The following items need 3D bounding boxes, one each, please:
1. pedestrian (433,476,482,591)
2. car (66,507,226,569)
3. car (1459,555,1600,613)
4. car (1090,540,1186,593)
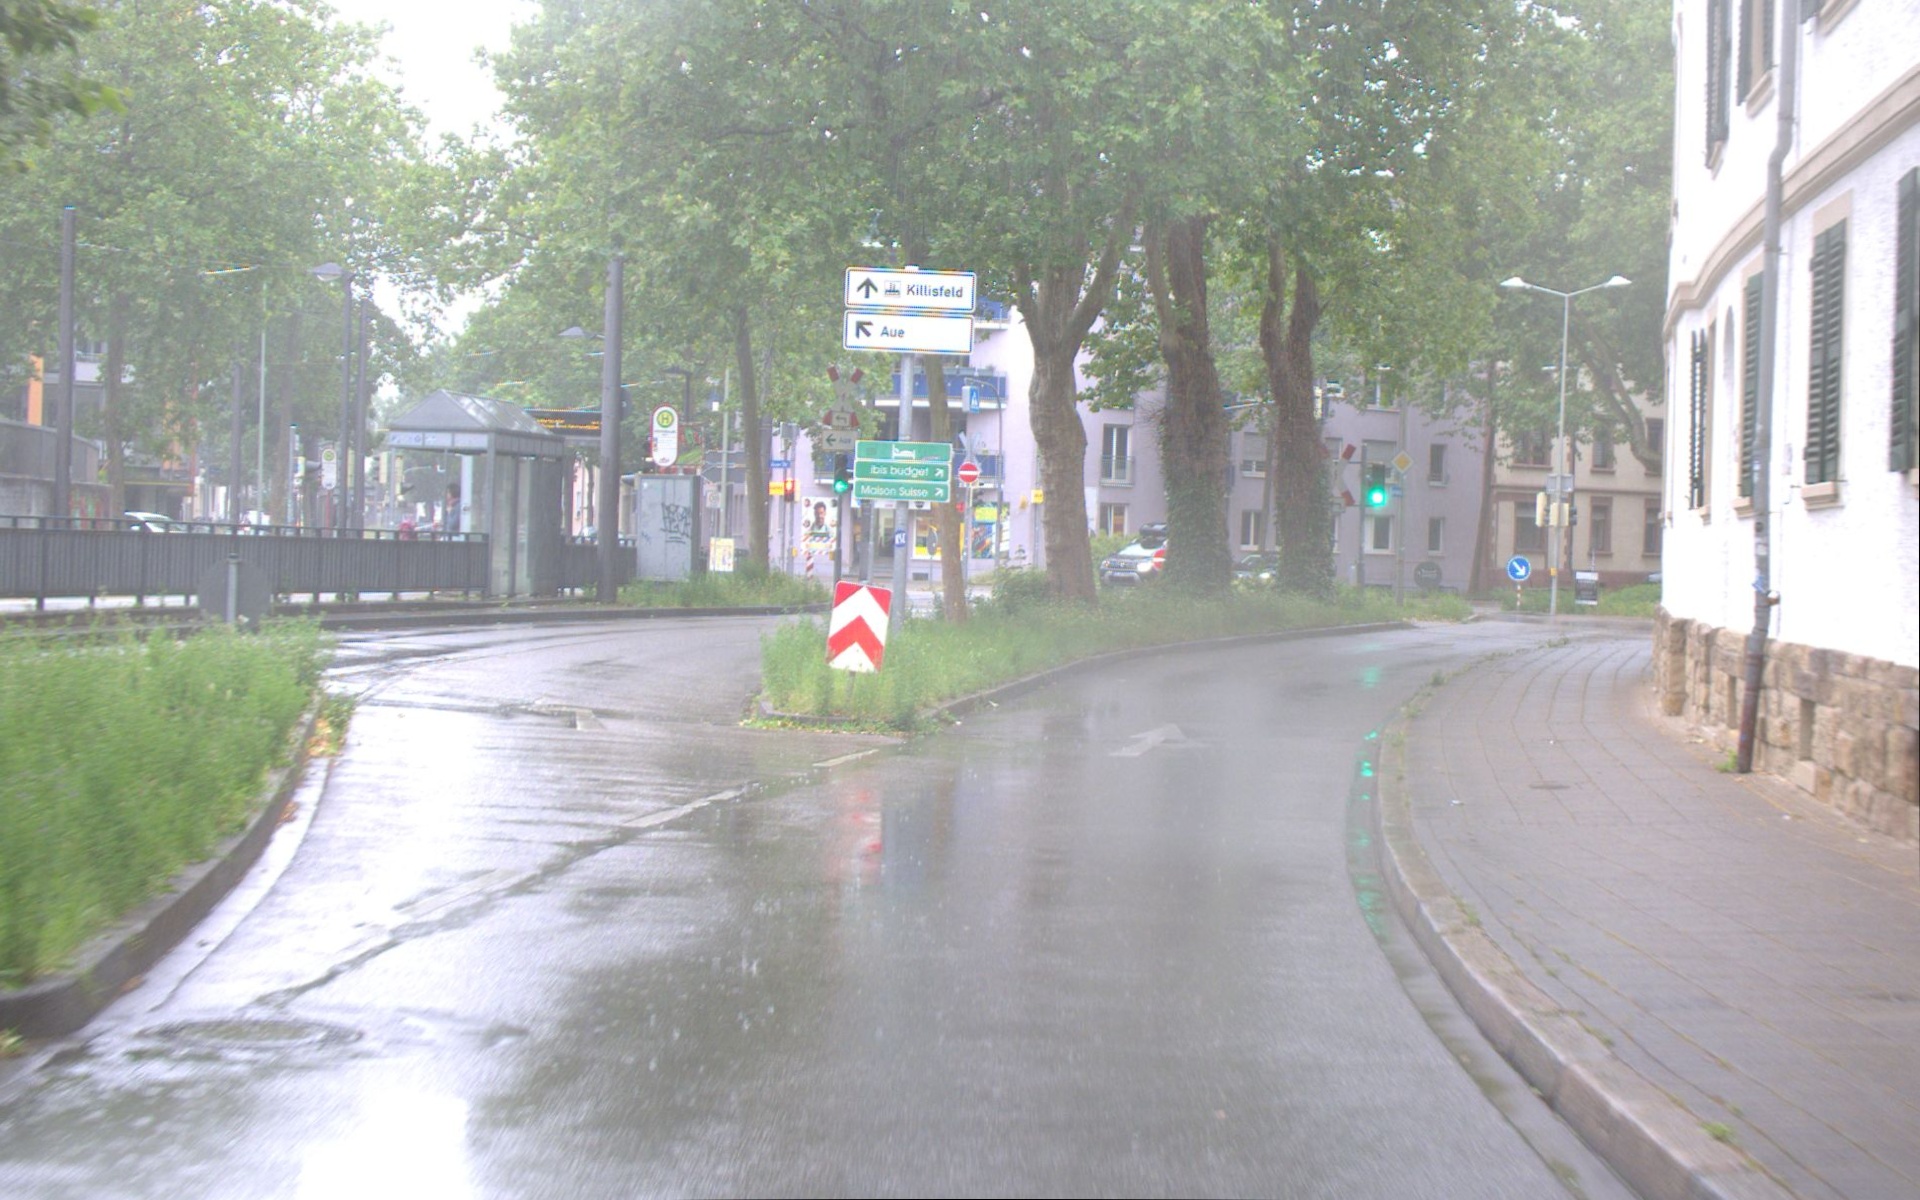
[{"bbox_3d":[-7.630,-1.010,52.214,0.581,1.725,0.568,1,0,-24],"label":"pedestrian"},{"bbox_3d":[-22.472,-1.706,94.885,4.013,1.646,1.969,1,1,30],"label":"car"},{"bbox_3d":[15.449,-0.441,93.295,3.484,1.518,1.517,1,1,27],"label":"car"},{"bbox_3d":[5.344,-0.994,102.787,1.727,1.547,3.555,1,1,24],"label":"car"}]
